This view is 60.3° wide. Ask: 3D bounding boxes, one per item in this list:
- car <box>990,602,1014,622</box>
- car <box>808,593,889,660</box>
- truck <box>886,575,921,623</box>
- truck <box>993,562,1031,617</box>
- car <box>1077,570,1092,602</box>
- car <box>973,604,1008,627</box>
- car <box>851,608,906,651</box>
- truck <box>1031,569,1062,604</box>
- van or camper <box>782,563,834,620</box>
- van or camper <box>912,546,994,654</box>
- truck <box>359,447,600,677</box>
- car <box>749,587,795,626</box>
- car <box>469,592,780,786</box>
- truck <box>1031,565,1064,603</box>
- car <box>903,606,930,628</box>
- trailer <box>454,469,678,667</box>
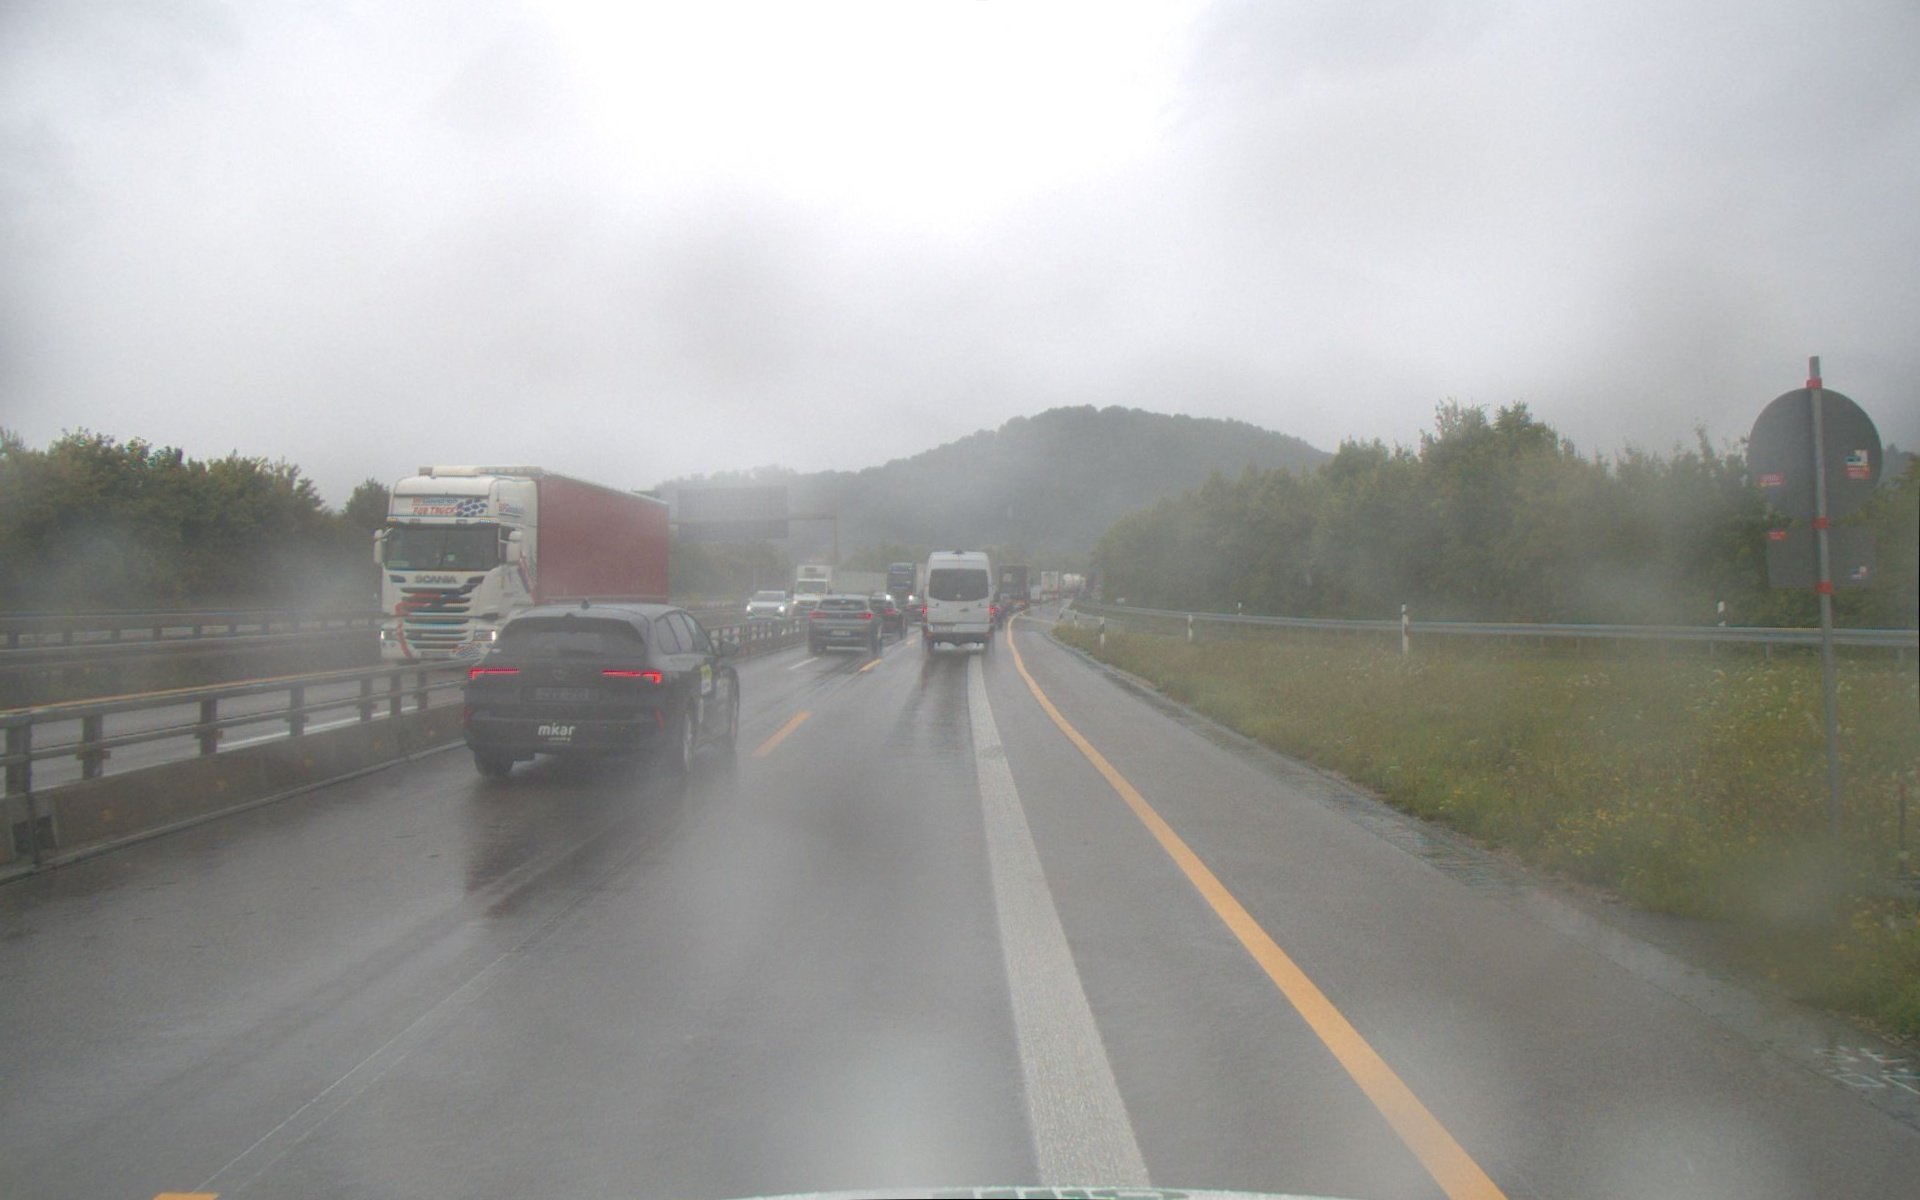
[{"bbox_3d":[2.687,0.759,106.004,1.357,1.278,3.121,0,0,-3],"label":"car"},{"bbox_3d":[-2.926,0.684,44.124,1.829,1.688,3.988,0,0,1],"label":"car"},{"bbox_3d":[-5.064,-0.052,149.390,2.829,4.306,6.327,0,-1,2],"label":"truck"},{"bbox_3d":[4.741,-0.908,152.750,3.252,4.868,9.908,1,0,1],"label":"truck"},{"bbox_3d":[17.048,-1.894,226.339,2.015,4.265,6.749,0,0,4],"label":"car"},{"bbox_3d":[1.443,0.724,78.585,1.357,1.097,3.119,0,0,-5],"label":"car"},{"bbox_3d":[-2.952,1.050,60.648,1.814,1.527,3.999,0,0,0],"label":"car"},{"bbox_3d":[9.952,-1.494,191.458,3.252,3.827,9.908,2,0,1],"label":"truck"},{"bbox_3d":[-8.623,-0.452,94.231,2.246,3.094,6.698,1,0,0],"label":"van or camper"},{"bbox_3d":[-0.200,-0.006,44.924,2.096,2.769,4.647,0,0,0],"label":"van or camper"},{"bbox_3d":[-9.863,-0.714,34.816,2.945,4.347,6.801,-1,0,1],"label":"truck"},{"bbox_3d":[-8.788,0.312,77.558,1.602,1.697,4.543,2,0,0],"label":"car"},{"bbox_3d":[-2.829,0.687,15.048,1.899,1.452,4.759,1,0,-1],"label":"car"},{"bbox_3d":[12.026,-2.129,225.803,3.845,4.868,9.913,1,0,6],"label":"truck"},{"bbox_3d":[-2.178,0.851,83.220,1.237,1.097,3.254,0,0,0],"label":"car"},{"bbox_3d":[-9.722,-0.686,42.355,2.914,4.370,11.060,-1,0,1],"label":"trailer"}]
